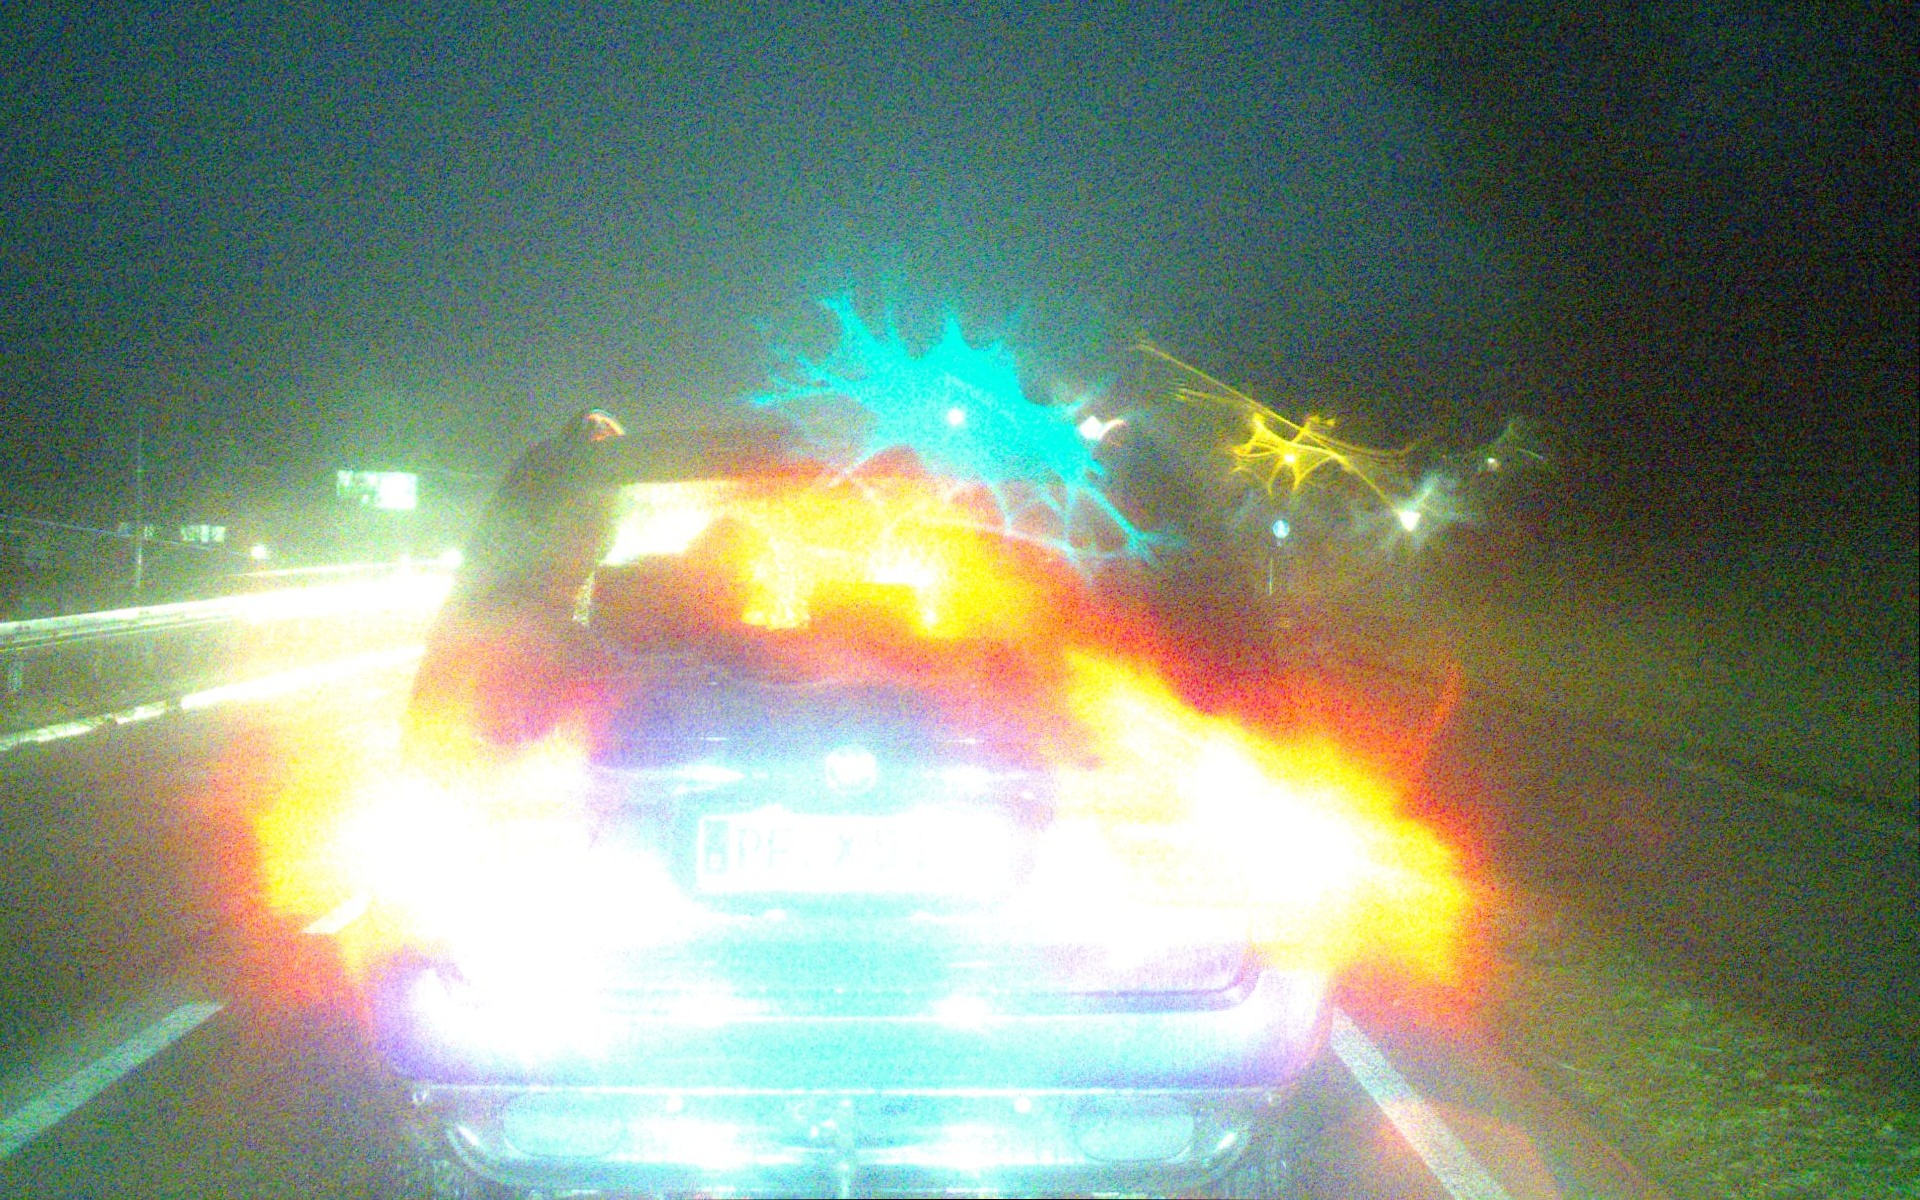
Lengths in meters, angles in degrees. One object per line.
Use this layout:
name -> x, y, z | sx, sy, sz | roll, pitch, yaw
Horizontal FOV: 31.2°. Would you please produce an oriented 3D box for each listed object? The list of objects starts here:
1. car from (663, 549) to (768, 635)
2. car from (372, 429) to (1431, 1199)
car -> -4.879, -0.184, 69.058 | 1.951, 1.650, 4.125 | -1, 1, -2
car -> -0.112, 0.531, 7.824 | 1.775, 1.706, 4.000 | 1, 1, 0
